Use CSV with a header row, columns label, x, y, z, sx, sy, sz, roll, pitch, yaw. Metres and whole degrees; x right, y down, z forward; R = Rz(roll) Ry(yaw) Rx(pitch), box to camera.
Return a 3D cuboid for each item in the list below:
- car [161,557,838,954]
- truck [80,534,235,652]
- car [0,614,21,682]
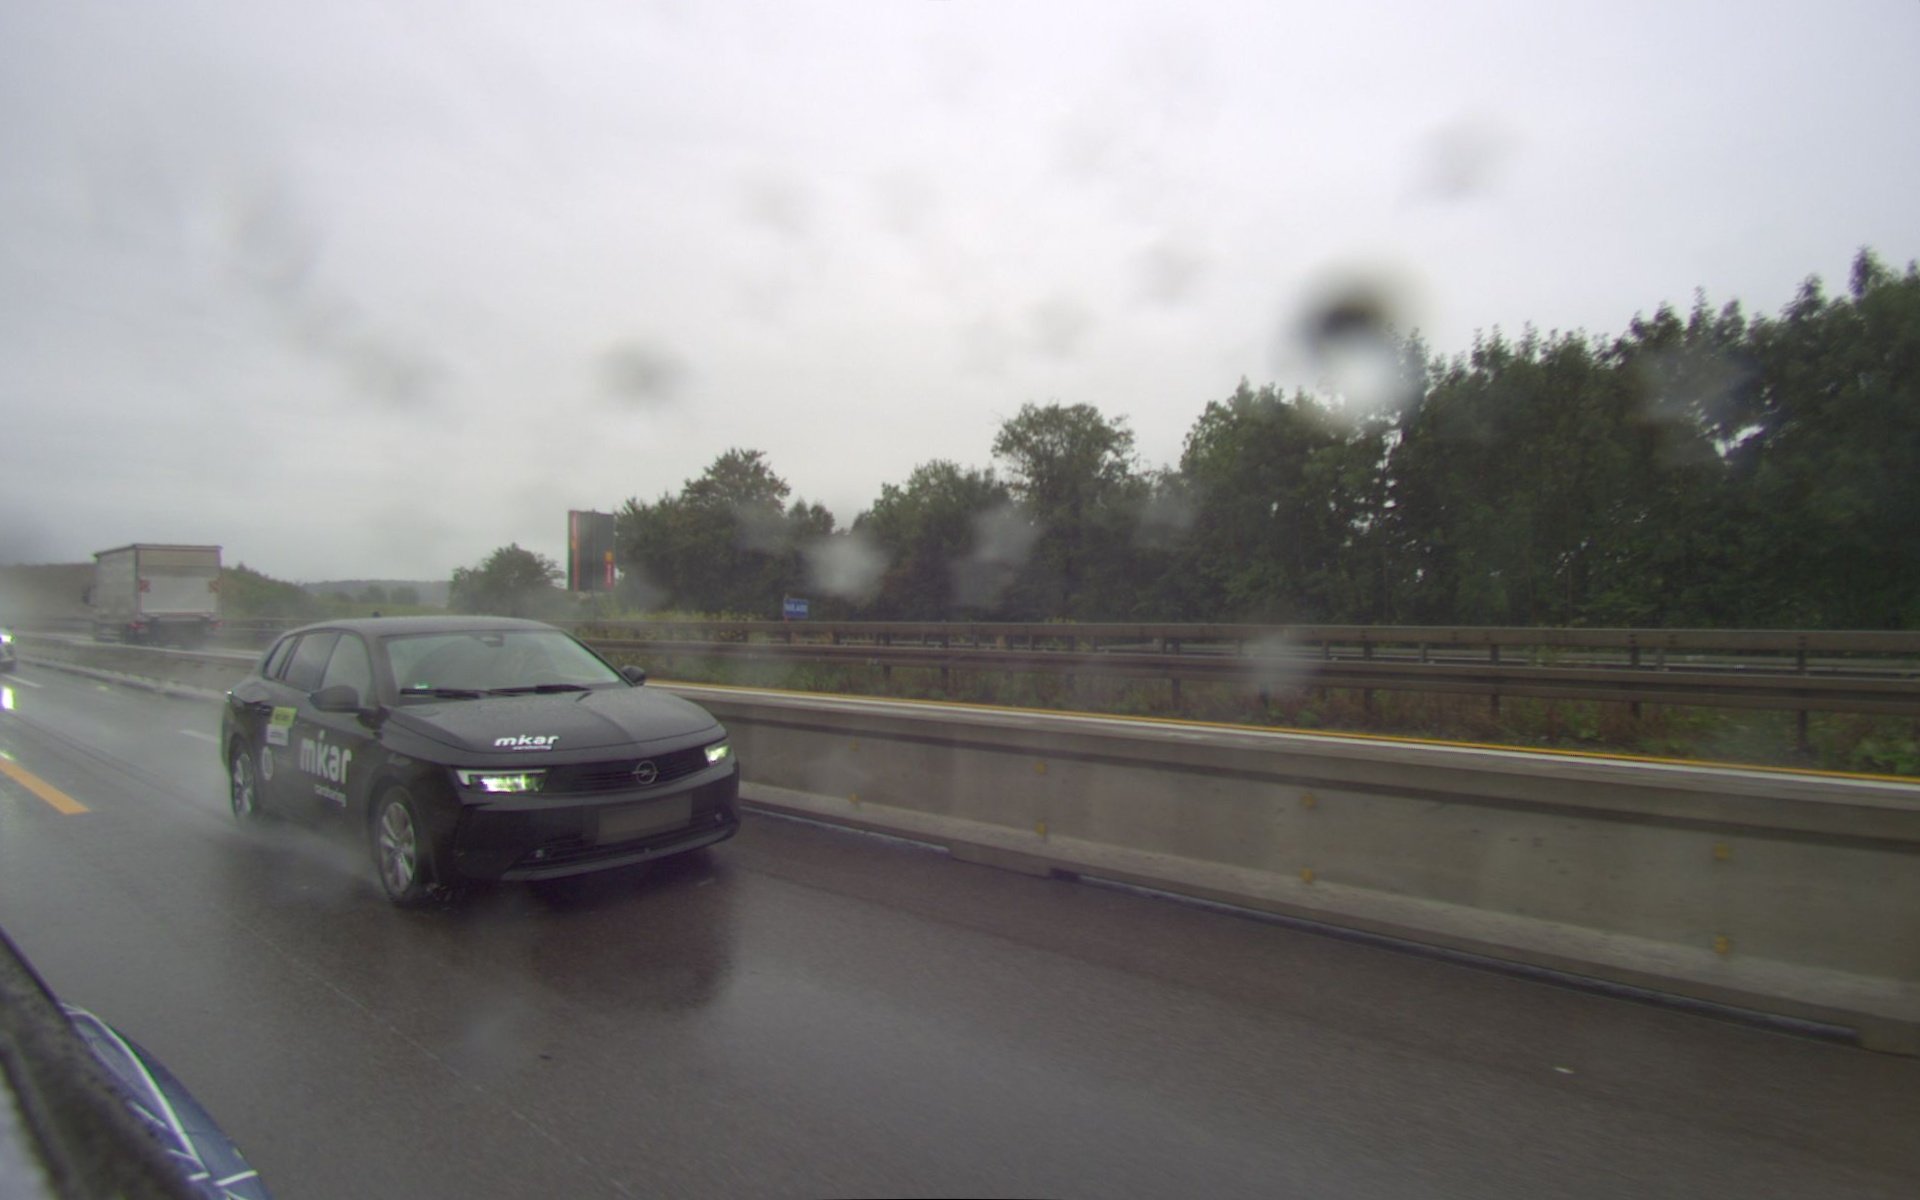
label,x,y,z,sx,sy,sz,roll,pitch,yaw
car,-3.140,0.576,6.314,4.792,1.539,1.919,3,0,40
truck,-32.082,-0.238,40.259,9.826,4.198,2.974,0,-1,41
car,-26.300,1.238,26.525,3.995,1.693,1.947,0,0,39
